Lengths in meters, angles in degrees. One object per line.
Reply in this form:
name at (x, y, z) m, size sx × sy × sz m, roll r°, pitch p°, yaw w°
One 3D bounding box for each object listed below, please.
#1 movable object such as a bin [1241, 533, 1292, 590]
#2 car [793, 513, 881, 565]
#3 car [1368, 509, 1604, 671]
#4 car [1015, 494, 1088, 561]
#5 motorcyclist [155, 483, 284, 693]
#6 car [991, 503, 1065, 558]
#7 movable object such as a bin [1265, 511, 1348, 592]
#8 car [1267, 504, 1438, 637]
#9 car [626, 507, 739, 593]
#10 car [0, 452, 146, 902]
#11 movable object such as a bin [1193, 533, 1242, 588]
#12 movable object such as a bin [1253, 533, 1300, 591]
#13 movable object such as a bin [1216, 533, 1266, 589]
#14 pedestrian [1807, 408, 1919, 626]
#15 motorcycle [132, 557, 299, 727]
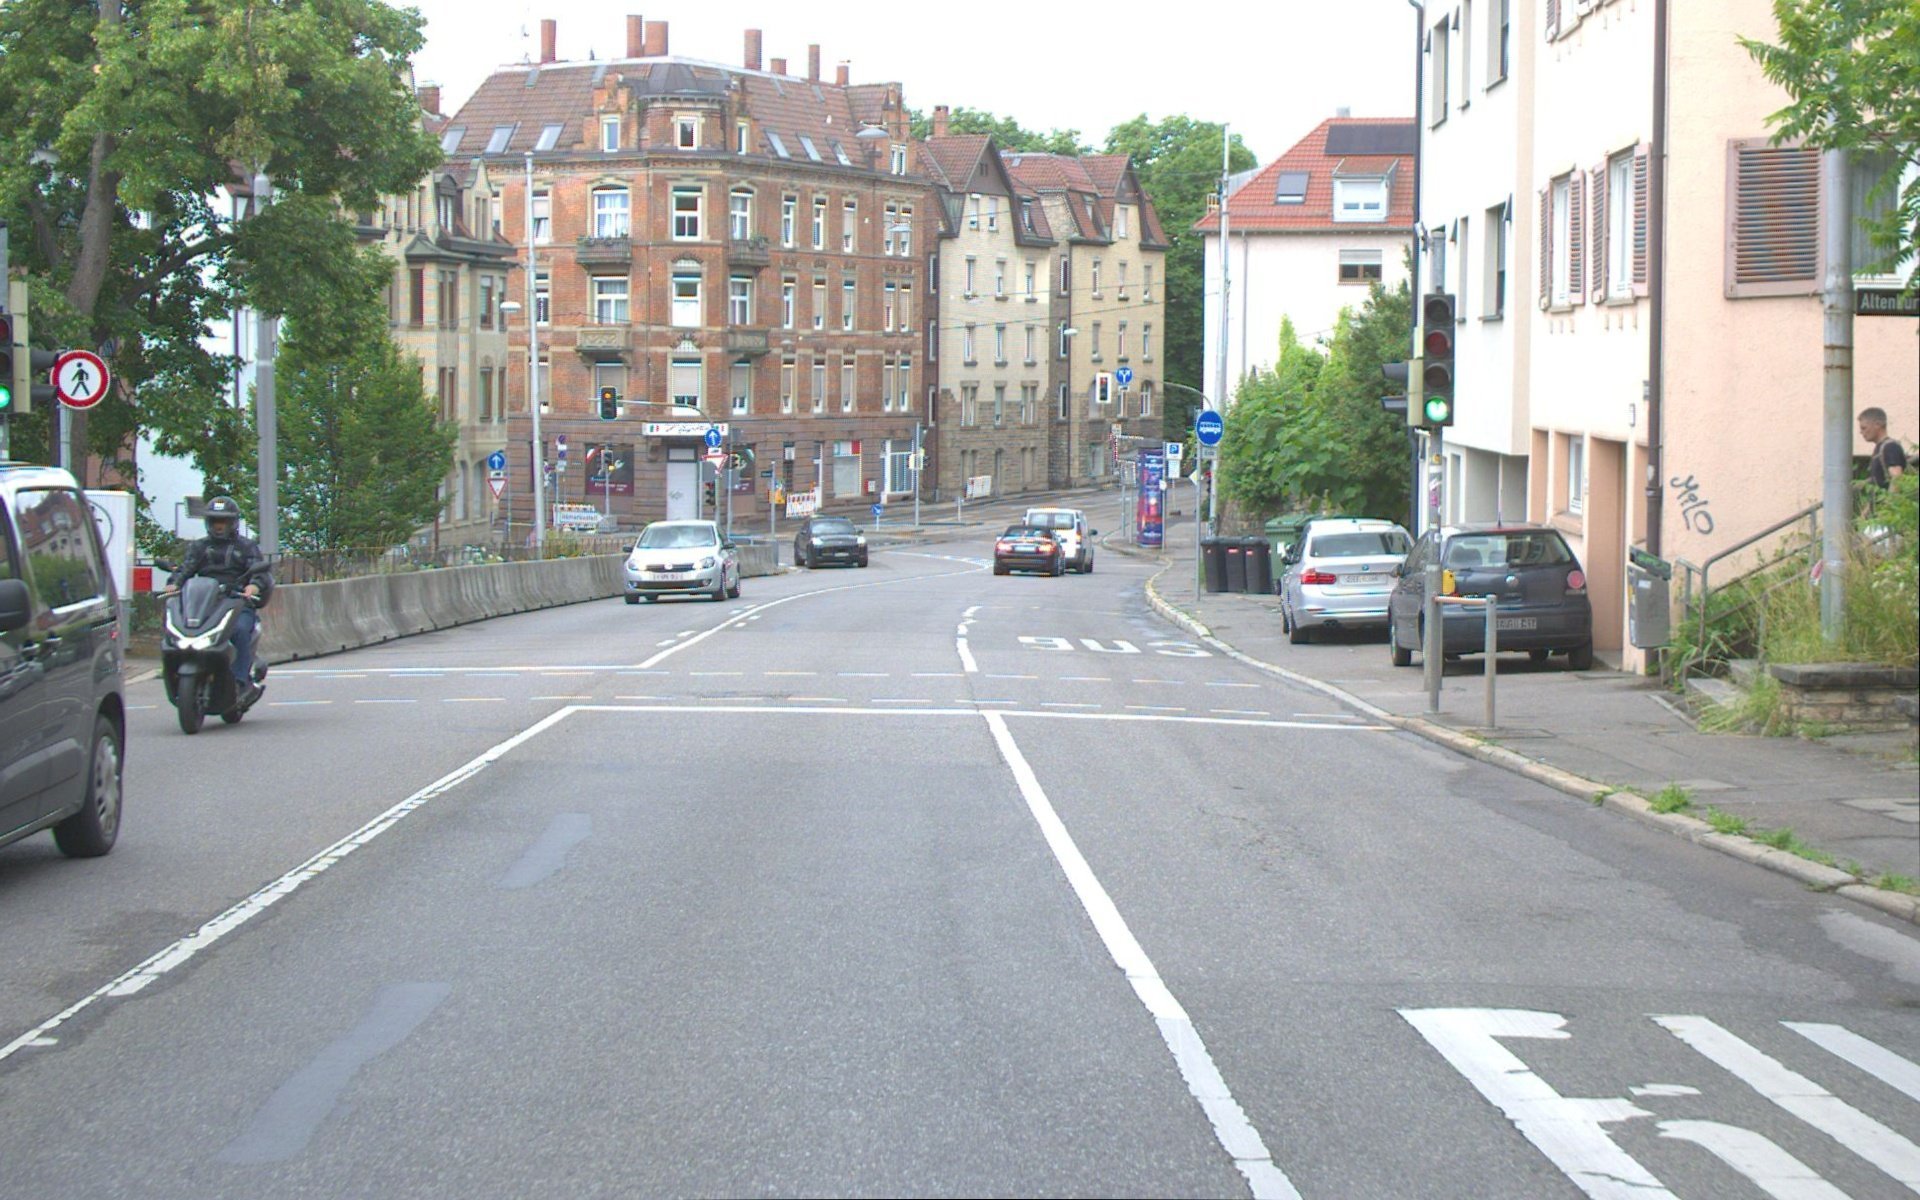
movable object such as a bin at (5.695, -0.715, 63.931) m, size 0.742 × 1.055 × 0.679 m, roll 0°, pitch 1°, yaw -15°
car at (-3.990, -2.006, 112.227) m, size 1.983 × 1.569 × 4.373 m, roll -1°, pitch 2°, yaw 10°
car at (5.242, -0.137, 34.701) m, size 1.681 × 1.446 × 4.000 m, roll -3°, pitch 1°, yaw 0°
car at (2.714, -2.147, 101.485) m, size 1.909 × 1.877 × 4.000 m, roll 2°, pitch 2°, yaw 4°
motorcyclist at (-5.413, -0.097, 25.163) m, size 0.785 × 1.511 × 0.668 m, roll -1°, pitch 2°, yaw -1°
car at (1.896, -1.933, 94.843) m, size 1.817 × 1.425 × 4.000 m, roll 2°, pitch 2°, yaw 4°
movable object such as a bin at (6.255, -0.872, 62.075) m, size 1.047 × 1.440 × 1.419 m, roll 0°, pitch 1°, yaw -15°
car at (4.902, -0.420, 43.474) m, size 1.794 × 1.446 × 4.718 m, roll -3°, pitch 2°, yaw 3°
car at (-4.942, -0.922, 61.634) m, size 1.720 × 1.440 × 4.159 m, roll -1°, pitch 2°, yaw -1°
car at (-4.632, 0.289, 13.831) m, size 1.783 × 1.740 × 4.429 m, roll -1°, pitch 2°, yaw -2°
movable object such as a bin at (4.896, -0.754, 65.459) m, size 0.742 × 1.055 × 0.679 m, roll 0°, pitch 1°, yaw -15°
movable object such as a bin at (5.817, -0.697, 63.200) m, size 0.709 × 1.055 × 0.547 m, roll 0°, pitch 1°, yaw -15°
movable object such as a bin at (5.297, -0.733, 64.806) m, size 0.742 × 1.055 × 0.679 m, roll 0°, pitch 1°, yaw -15°
pedestrian at (7.372, -0.659, 27.487) m, size 0.887 × 1.690 × 0.873 m, roll 2°, pitch 1°, yaw -4°
motorcycle at (-5.410, 0.283, 25.109) m, size 0.785 × 1.141 × 2.057 m, roll -1°, pitch 2°, yaw -1°
